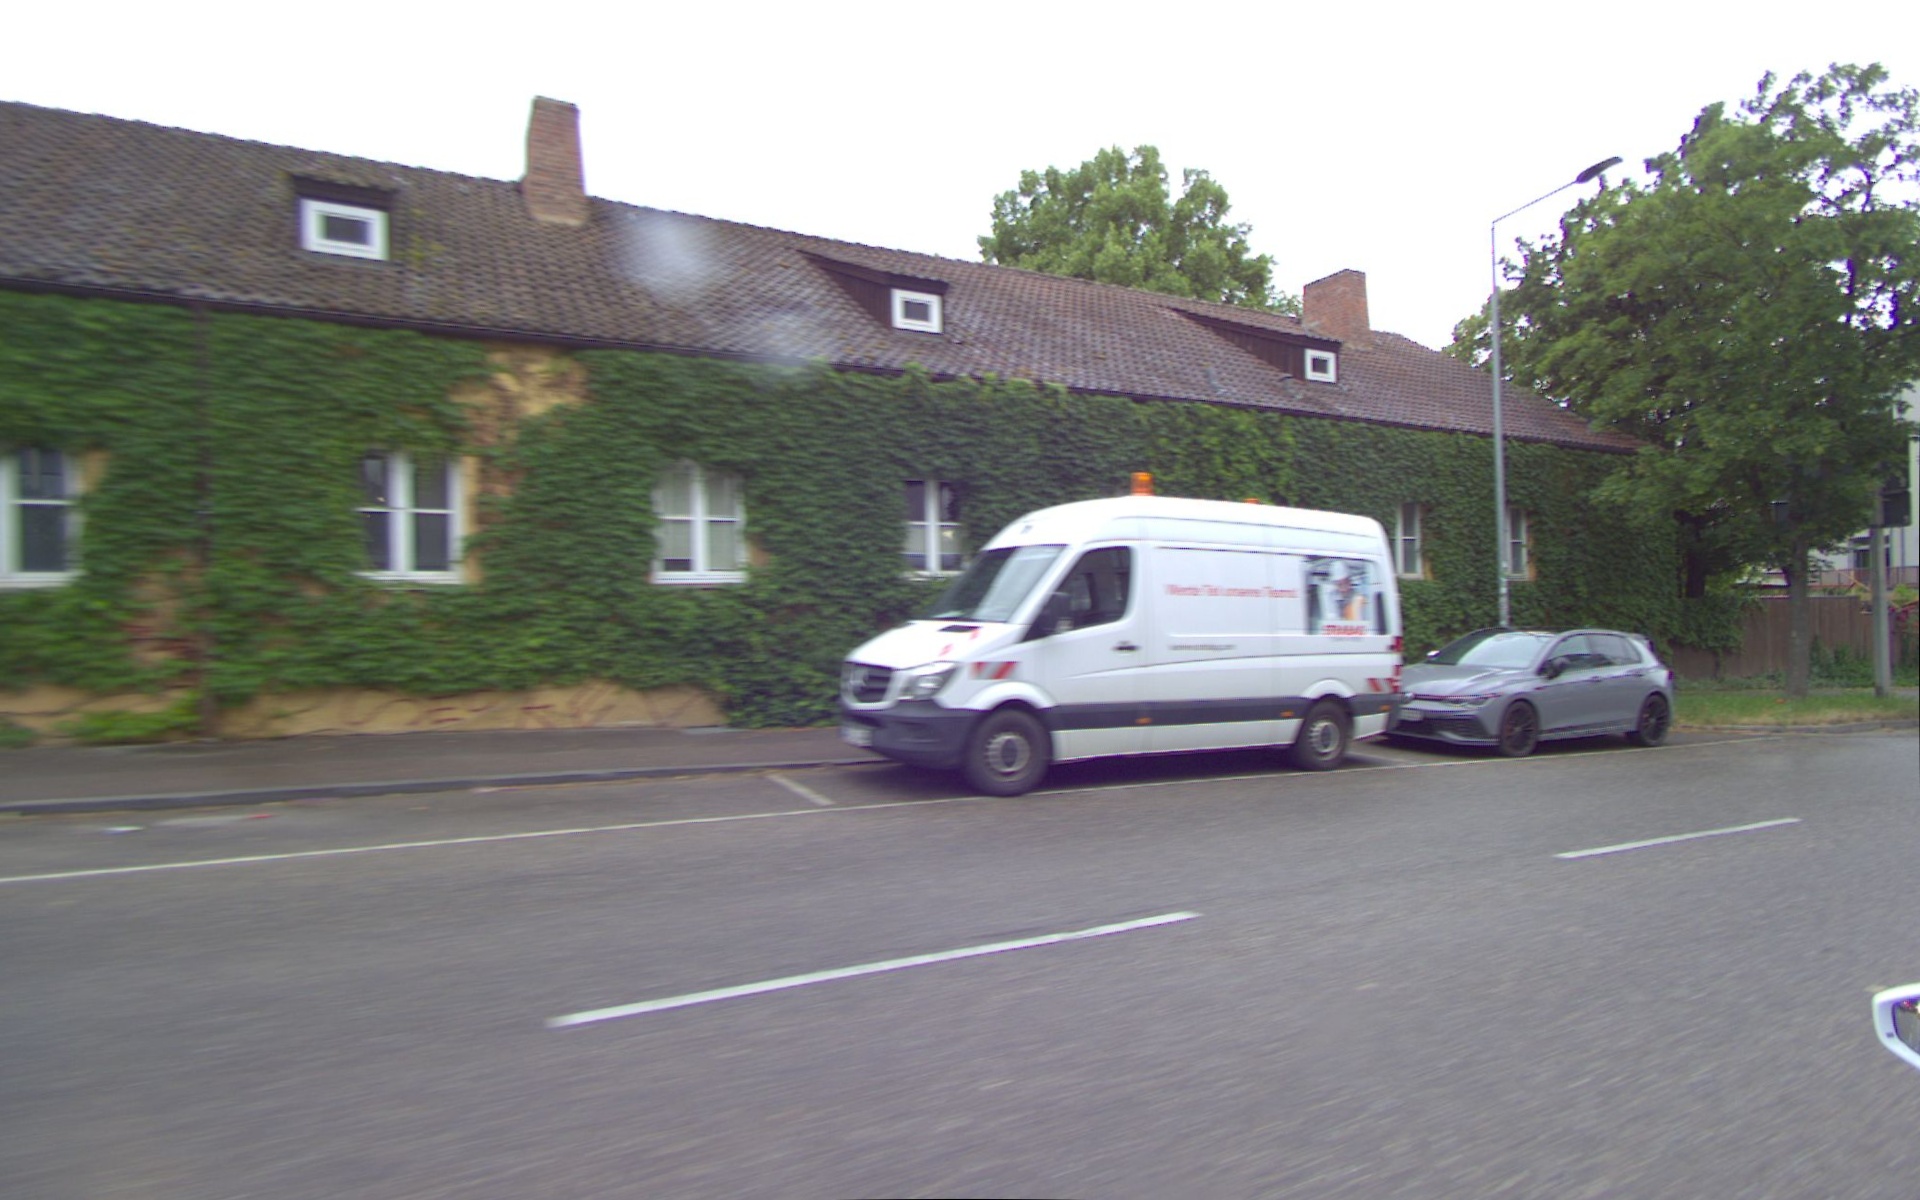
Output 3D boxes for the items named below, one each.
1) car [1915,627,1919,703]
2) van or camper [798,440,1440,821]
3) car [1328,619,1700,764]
[{"bbox_3d":[20.969,1.313,19.520,4.125,1.489,1.990,2,-1,-22],"label":"car"},{"bbox_3d":[1.692,0.265,9.869,6.065,2.802,2.331,1,0,-28],"label":"van or camper"},{"bbox_3d":[7.007,1.055,12.671,4.365,1.532,1.987,2,-1,-26],"label":"car"}]
